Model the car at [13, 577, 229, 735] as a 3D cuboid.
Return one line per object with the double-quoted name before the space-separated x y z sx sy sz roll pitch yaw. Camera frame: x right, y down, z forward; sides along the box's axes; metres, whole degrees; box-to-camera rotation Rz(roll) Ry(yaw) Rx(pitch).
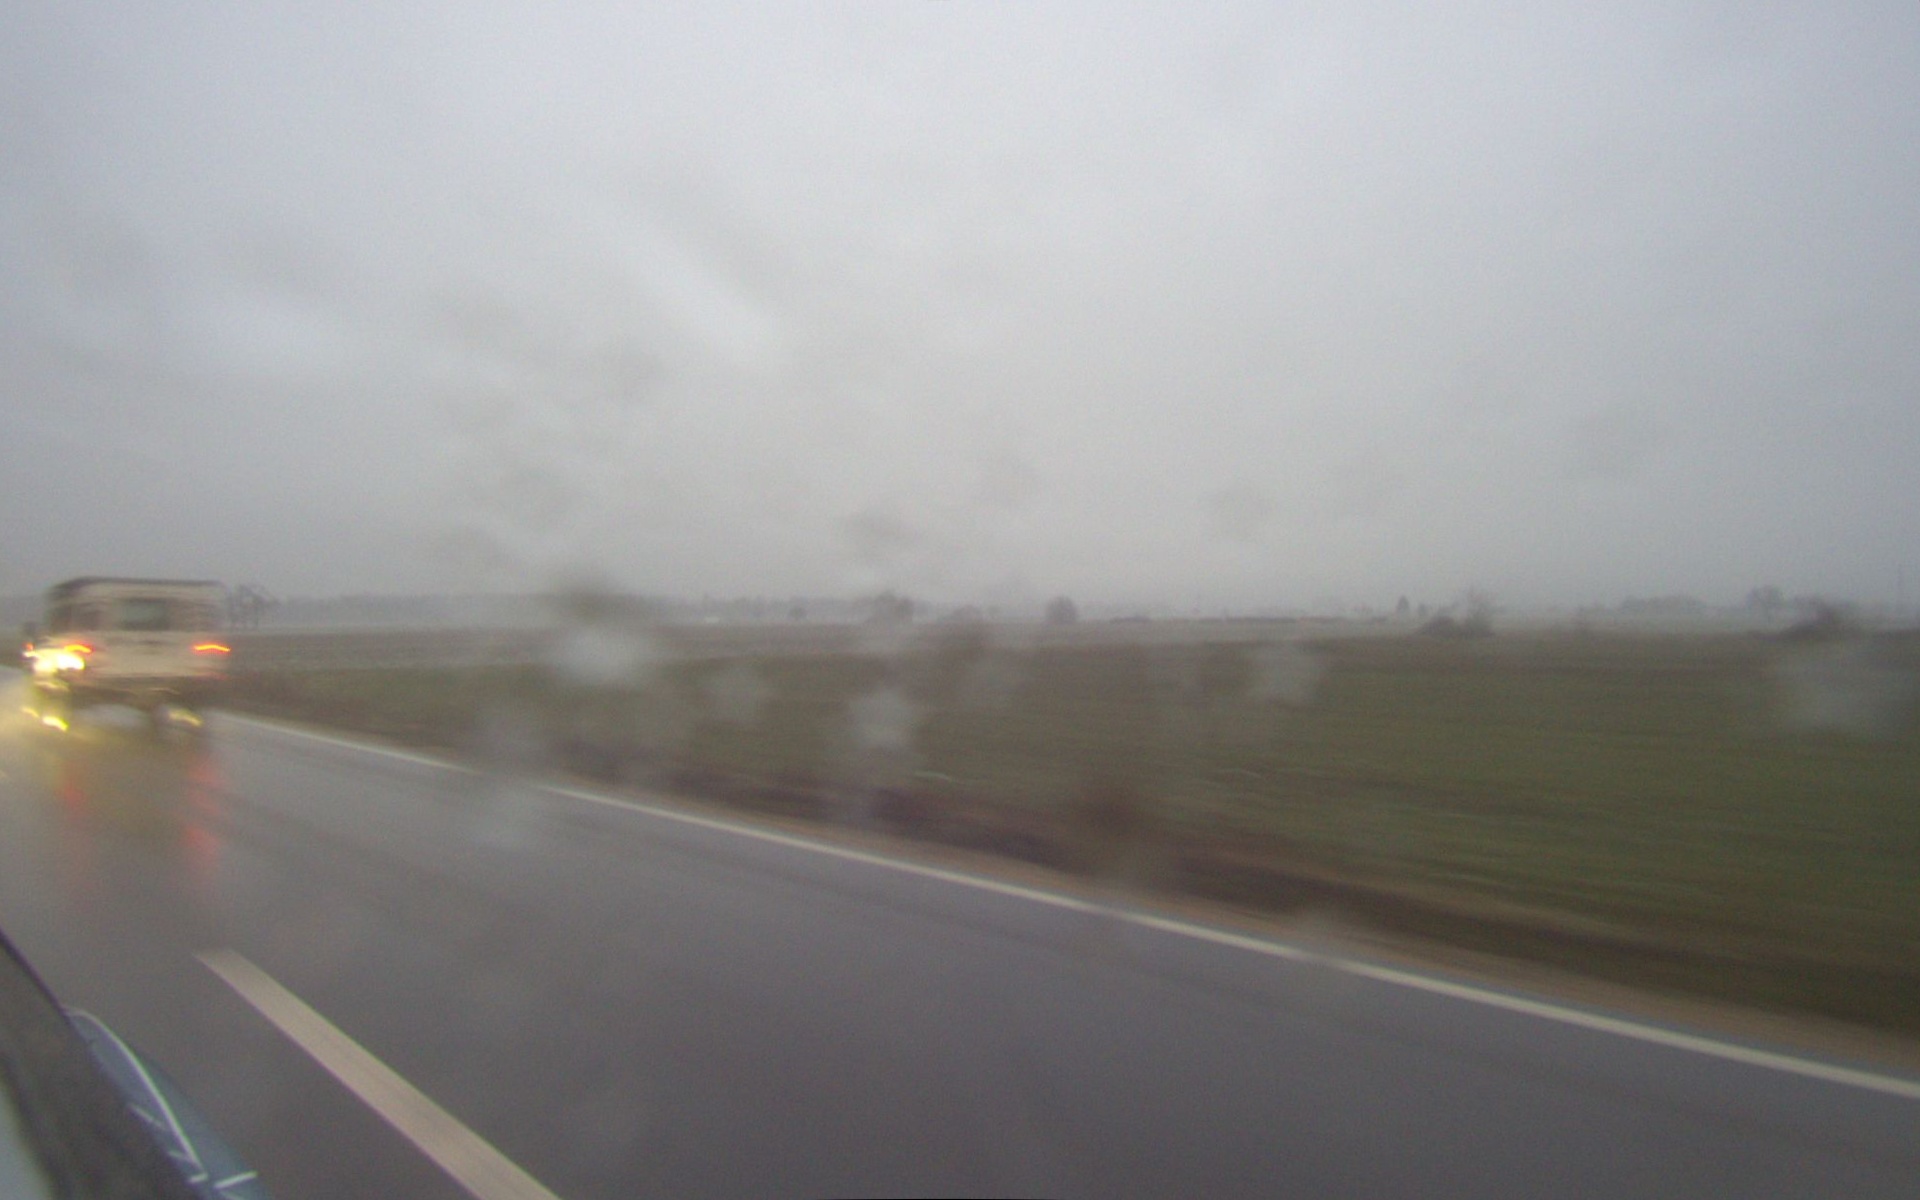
"car" -12.820 0.778 15.373 4.292 2.068 1.847 -1 -2 41
